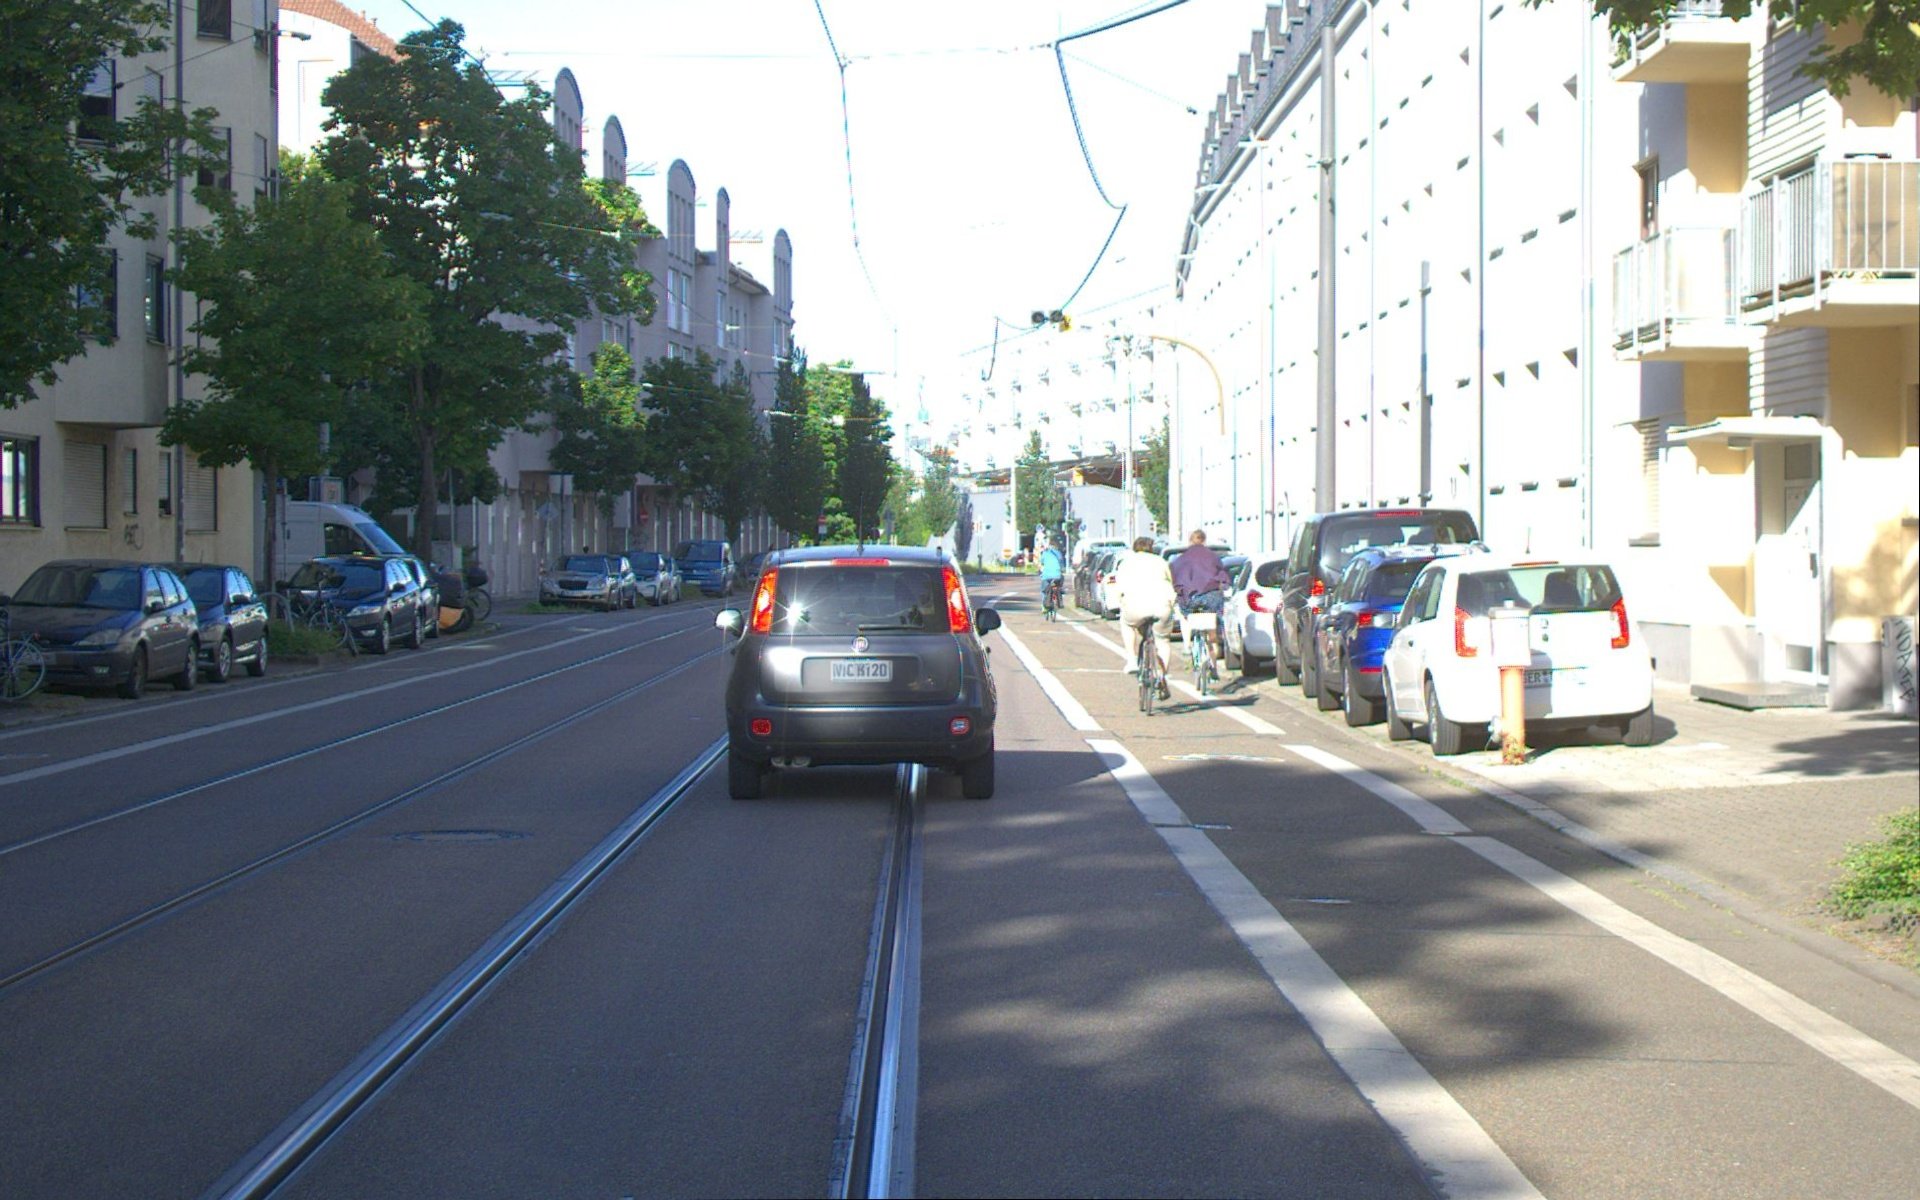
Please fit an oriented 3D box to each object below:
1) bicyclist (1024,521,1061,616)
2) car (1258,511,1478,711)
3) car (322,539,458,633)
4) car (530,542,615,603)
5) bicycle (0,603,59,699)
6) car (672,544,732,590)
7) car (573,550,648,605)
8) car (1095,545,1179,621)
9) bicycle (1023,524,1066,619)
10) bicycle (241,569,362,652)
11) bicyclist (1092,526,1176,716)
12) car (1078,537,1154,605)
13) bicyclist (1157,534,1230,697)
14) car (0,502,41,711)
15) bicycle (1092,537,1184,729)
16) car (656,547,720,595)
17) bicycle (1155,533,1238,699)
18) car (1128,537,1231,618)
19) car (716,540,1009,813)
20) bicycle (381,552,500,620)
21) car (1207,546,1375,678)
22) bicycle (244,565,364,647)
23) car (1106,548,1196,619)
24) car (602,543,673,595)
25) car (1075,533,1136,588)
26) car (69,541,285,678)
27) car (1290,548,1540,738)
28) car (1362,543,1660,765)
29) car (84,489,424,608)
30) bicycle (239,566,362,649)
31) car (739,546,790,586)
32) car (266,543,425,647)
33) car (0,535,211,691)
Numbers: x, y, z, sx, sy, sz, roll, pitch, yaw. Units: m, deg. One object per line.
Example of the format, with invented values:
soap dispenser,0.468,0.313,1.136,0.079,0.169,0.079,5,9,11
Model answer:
bicyclist,1.787,-0.680,74.155,0.715,2.007,0.832,1,1,-1
car,4.231,0.072,36.297,1.655,1.937,4.665,1,1,-1
car,-9.835,-0.261,59.546,1.835,1.551,3.377,1,1,-1
car,-9.948,-0.724,88.562,1.707,1.491,3.722,1,1,1
bicycle,-9.930,0.495,34.504,1.631,0.934,0.517,1,1,-4
car,-8.754,-1.126,116.840,1.707,1.491,3.722,1,1,1
car,-9.948,-0.661,98.046,1.707,1.491,3.722,1,1,1
car,3.864,-0.399,75.537,1.583,1.593,3.377,1,1,-1
bicycle,1.807,-0.624,73.982,0.741,2.007,2.812,1,1,-1
bicycle,-9.821,0.151,51.307,1.728,1.192,0.372,1,1,-4
bicyclist,1.635,0.190,32.389,0.699,1.753,0.757,1,1,-1
car,3.764,-0.718,83.237,1.583,1.593,3.377,1,1,-1
bicyclist,2.548,0.160,37.567,0.699,1.753,0.757,1,1,-1
car,-9.754,0.055,30.932,1.808,1.937,4.334,1,1,0
bicycle,1.662,0.283,32.459,0.675,1.741,2.158,1,1,-1
car,-8.778,-0.963,111.246,1.707,1.491,3.722,1,1,1
bicycle,2.574,0.153,37.627,0.675,1.741,2.158,1,1,-1
car,3.988,-0.432,62.889,1.583,1.400,3.377,1,1,-1
car,-0.556,0.402,21.874,1.650,1.536,4.235,1,1,0
bicycle,-10.311,-0.281,68.291,2.275,1.284,0.758,1,1,-5
car,3.974,0.118,41.650,1.655,1.495,3.130,1,1,-1
bicycle,-9.867,0.095,51.721,1.728,1.192,0.372,1,1,-4
car,3.938,-0.361,71.337,1.583,1.400,3.377,1,1,-1
car,-9.620,-0.942,102.874,1.707,1.491,3.722,1,1,1
car,4.355,-1.188,103.240,1.583,1.593,3.377,1,1,-1
car,-9.857,0.078,43.544,1.808,1.614,4.064,1,1,0
car,4.046,0.336,31.105,1.655,1.566,3.876,1,1,-1
car,4.179,0.361,26.540,1.655,1.566,3.499,1,1,-1
car,-15.364,-1.123,74.975,6.903,2.395,2.175,1,1,6
bicycle,-9.766,0.108,50.911,1.728,1.192,0.372,1,1,-4
car,-7.537,-1.325,132.723,1.707,1.491,3.722,1,1,1
car,-9.660,-0.105,54.299,1.835,1.551,4.000,1,1,-1
car,-9.673,0.104,38.195,1.808,1.614,4.064,1,1,0
